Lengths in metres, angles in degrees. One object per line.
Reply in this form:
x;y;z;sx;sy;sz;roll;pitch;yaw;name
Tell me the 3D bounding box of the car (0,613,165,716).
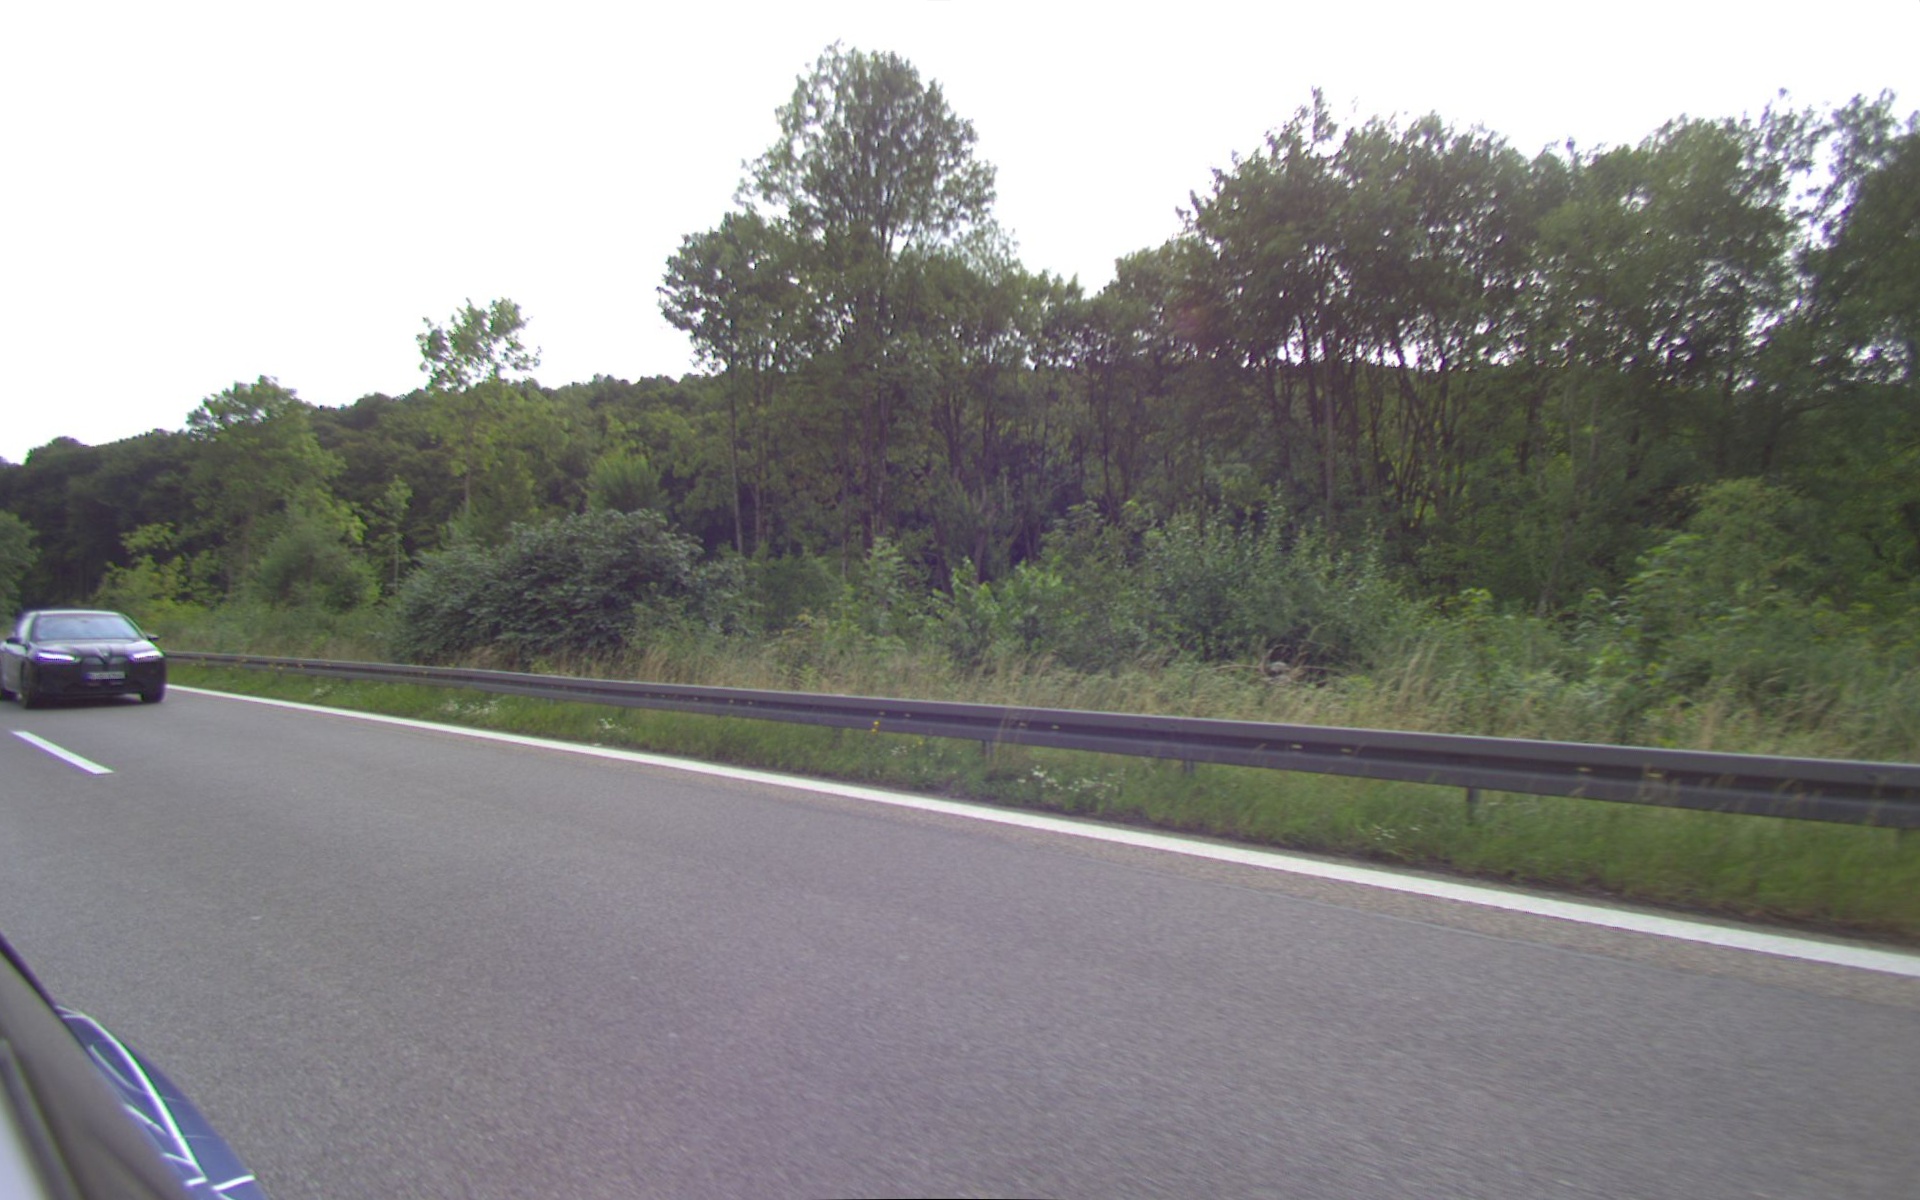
-16.414;1.093;18.723;4.414;1.678;1.972;-1;-2;42;car
